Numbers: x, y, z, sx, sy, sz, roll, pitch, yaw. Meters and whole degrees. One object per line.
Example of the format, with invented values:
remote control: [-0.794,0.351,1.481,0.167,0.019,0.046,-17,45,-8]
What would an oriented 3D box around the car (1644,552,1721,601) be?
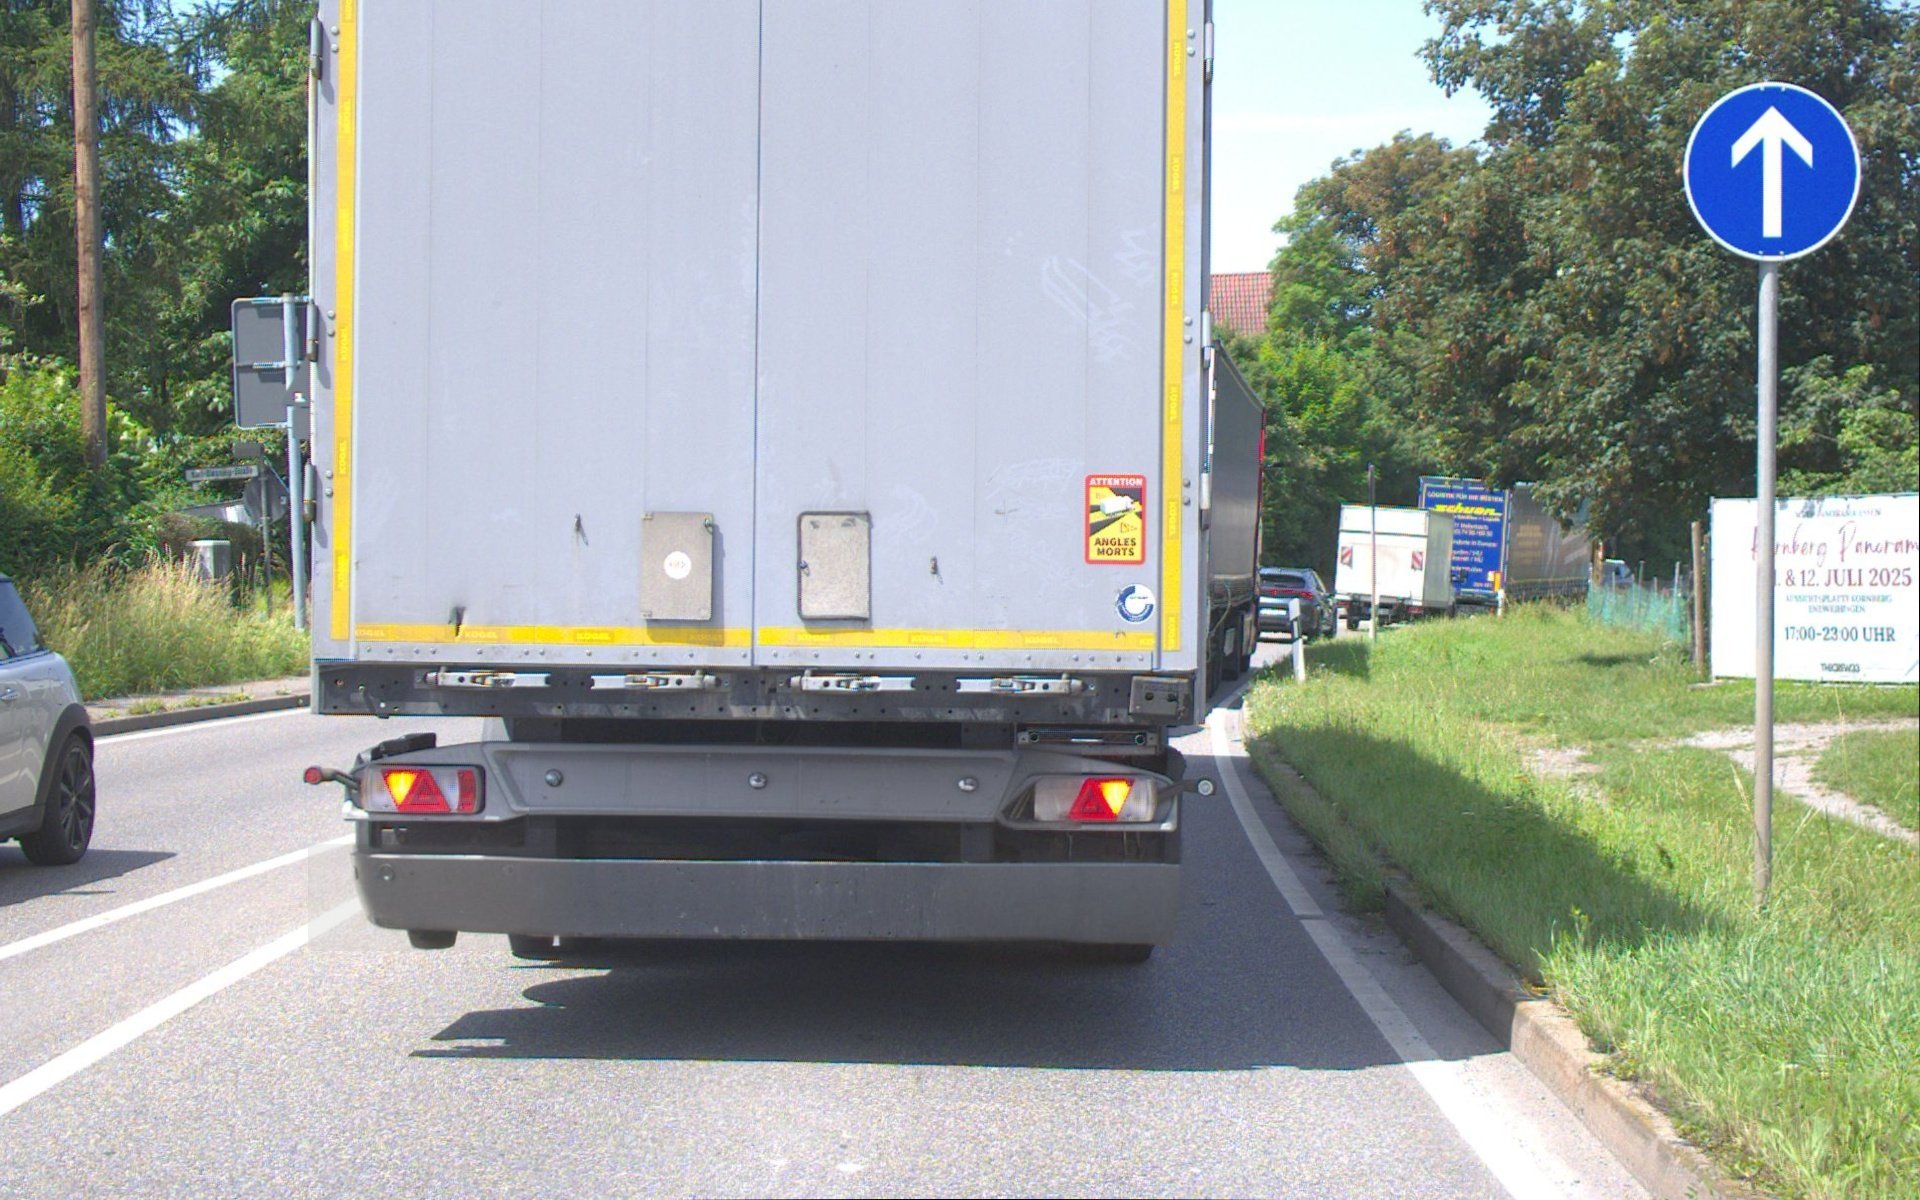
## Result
car: [25.964,-0.866,123.502,1.996,1.678,3.995,1,1,23]

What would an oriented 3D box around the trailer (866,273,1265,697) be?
trailer: [1.676,-1.323,43.051,3.892,4.505,12.710,0,1,7]

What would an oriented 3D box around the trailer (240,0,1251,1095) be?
trailer: [-0.368,-0.897,15.544,2.787,4.191,12.111,1,1,2]

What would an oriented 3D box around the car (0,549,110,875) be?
car: [-4.934,0.491,14.473,1.622,1.377,3.560,0,1,4]

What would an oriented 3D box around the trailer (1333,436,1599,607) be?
trailer: [15.135,-2.320,101.053,5.184,4.612,15.882,1,2,18]

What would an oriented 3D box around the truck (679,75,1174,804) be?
truck: [-0.012,-1.000,22.729,2.746,4.151,6.142,1,1,4]

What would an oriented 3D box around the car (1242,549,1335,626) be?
car: [6.732,-0.276,70.315,1.841,1.481,3.999,1,1,6]

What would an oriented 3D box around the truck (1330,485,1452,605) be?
truck: [10.635,-1.375,84.433,2.422,2.828,5.409,1,1,13]

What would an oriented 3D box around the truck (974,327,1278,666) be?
truck: [2.558,-1.447,49.997,3.938,4.559,7.150,0,1,7]

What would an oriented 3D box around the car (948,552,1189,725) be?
car: [1.112,0.317,33.327,1.994,1.525,3.999,0,1,7]
